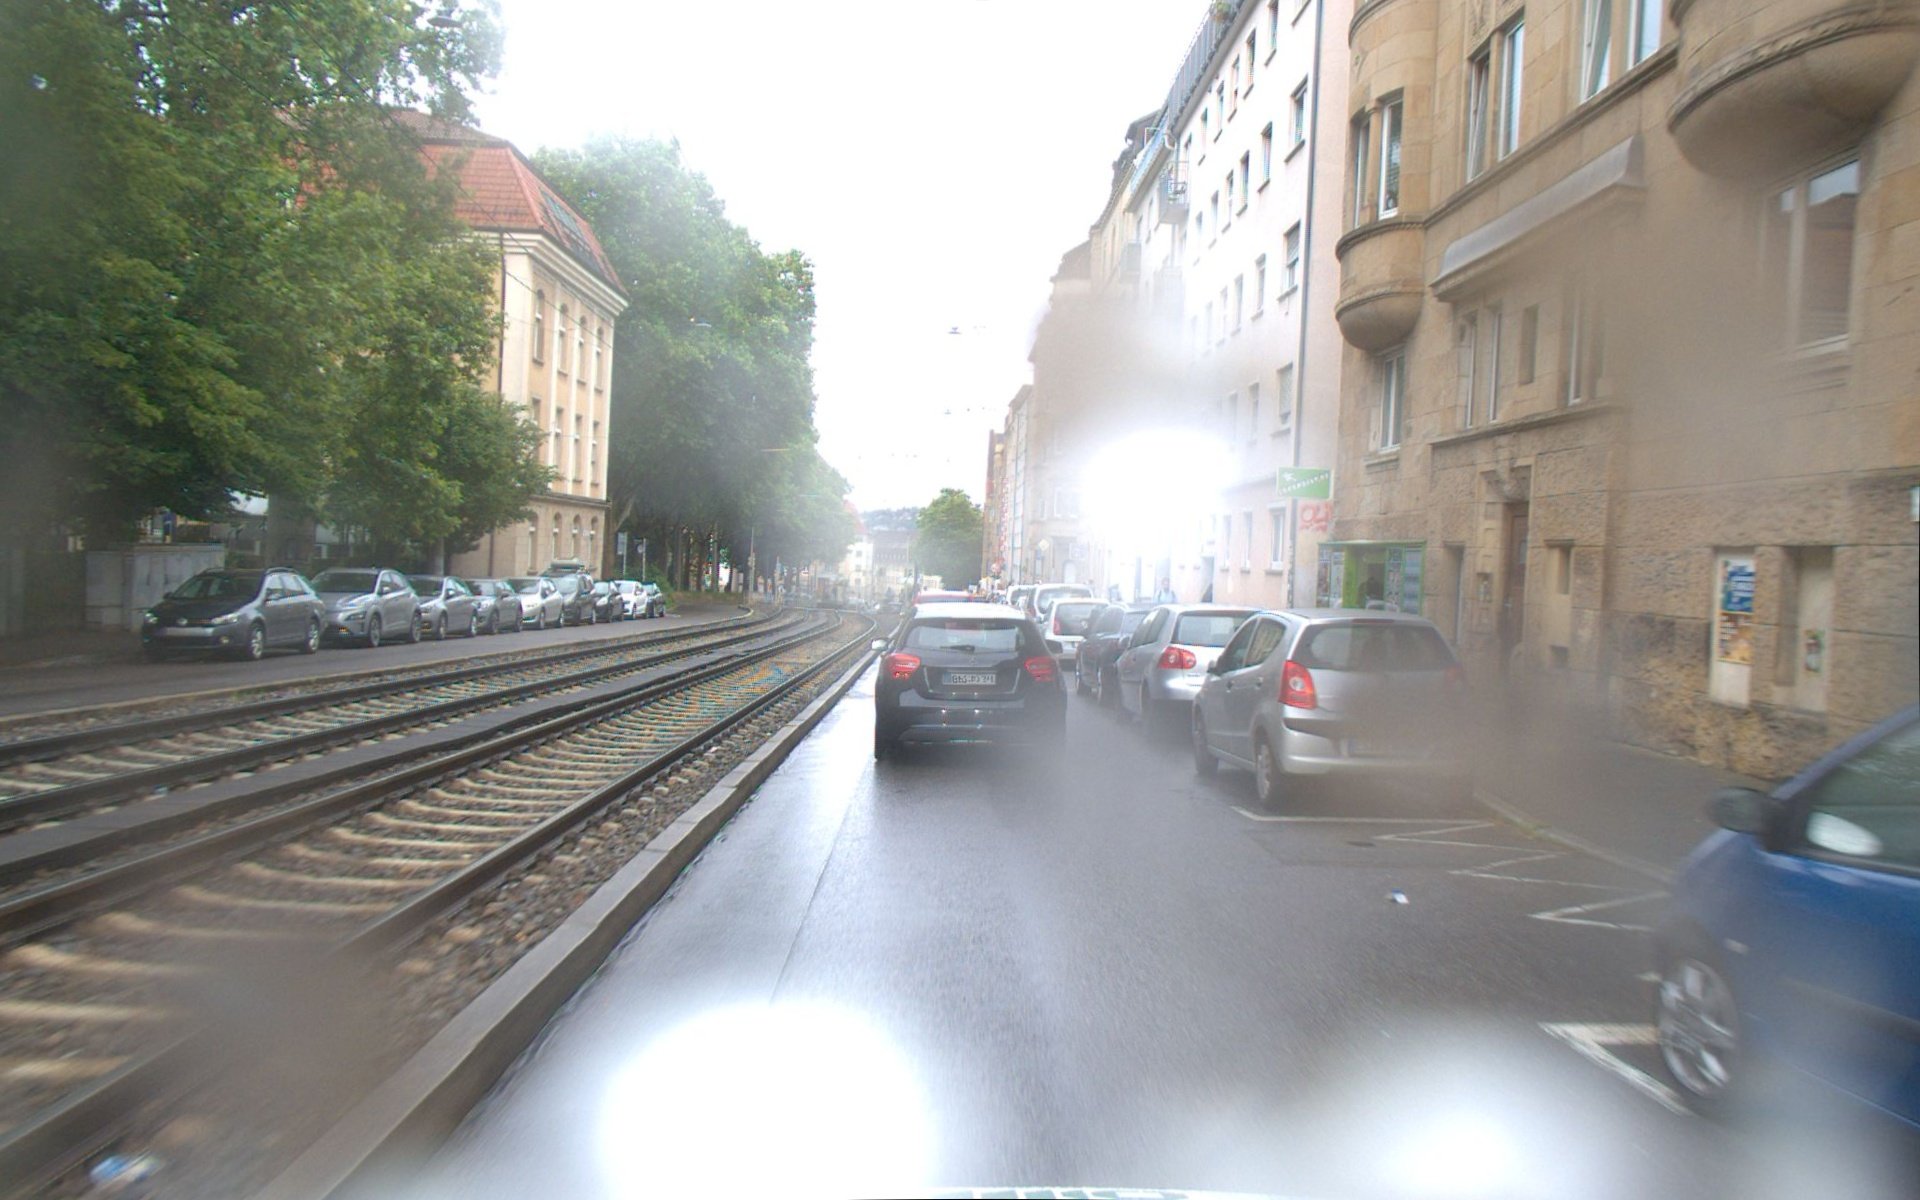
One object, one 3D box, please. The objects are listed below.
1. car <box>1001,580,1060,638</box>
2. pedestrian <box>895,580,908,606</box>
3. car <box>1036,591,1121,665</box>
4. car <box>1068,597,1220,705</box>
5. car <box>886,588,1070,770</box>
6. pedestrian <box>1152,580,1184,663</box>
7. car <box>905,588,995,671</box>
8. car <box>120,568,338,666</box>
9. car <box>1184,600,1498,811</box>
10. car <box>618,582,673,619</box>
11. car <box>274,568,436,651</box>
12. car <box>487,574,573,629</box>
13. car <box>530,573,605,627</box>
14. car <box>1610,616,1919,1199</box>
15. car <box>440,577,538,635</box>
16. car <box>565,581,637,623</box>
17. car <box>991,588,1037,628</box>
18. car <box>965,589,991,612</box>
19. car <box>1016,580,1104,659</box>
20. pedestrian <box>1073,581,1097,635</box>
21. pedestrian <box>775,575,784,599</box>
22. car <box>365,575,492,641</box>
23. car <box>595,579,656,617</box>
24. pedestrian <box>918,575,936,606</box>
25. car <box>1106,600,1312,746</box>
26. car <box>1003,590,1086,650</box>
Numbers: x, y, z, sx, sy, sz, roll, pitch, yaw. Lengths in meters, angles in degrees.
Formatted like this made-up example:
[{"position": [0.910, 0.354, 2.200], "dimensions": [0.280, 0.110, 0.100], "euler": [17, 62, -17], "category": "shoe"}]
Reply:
[{"position": [2.274, 0.259, 54.464], "dimensions": [1.790, 1.781, 4.467], "euler": [1, 0, 1], "category": "car"}, {"position": [-3.732, -0.441, 105.256], "dimensions": [0.789, 1.662, 0.892], "euler": [0, 0, 0], "category": "pedestrian"}, {"position": [2.502, 0.562, 35.502], "dimensions": [1.538, 1.487, 3.599], "euler": [1, 0, 0], "category": "car"}, {"position": [2.667, 0.697, 24.837], "dimensions": [1.636, 1.434, 4.310], "euler": [1, 0, -2], "category": "car"}, {"position": [0.124, 0.670, 15.987], "dimensions": [1.548, 1.531, 3.573], "euler": [1, 0, -1], "category": "car"}, {"position": [4.552, 0.467, 36.168], "dimensions": [0.594, 1.794, 0.688], "euler": [0, 0, -2], "category": "pedestrian"}, {"position": [-0.213, 0.564, 34.772], "dimensions": [1.749, 1.608, 3.999], "euler": [1, 0, -1], "category": "car"}, {"position": [-12.182, 0.245, 27.897], "dimensions": [1.812, 1.489, 4.548], "euler": [0, 0, -3], "category": "car"}, {"position": [2.950, 0.748, 13.551], "dimensions": [1.558, 1.459, 3.682], "euler": [1, 0, -3], "category": "car"}, {"position": [-12.918, -0.007, 68.055], "dimensions": [1.581, 1.454, 3.851], "euler": [1, 1, -1], "category": "car"}, {"position": [-12.191, 0.158, 33.634], "dimensions": [1.719, 1.563, 4.541], "euler": [0, 0, -2], "category": "car"}, {"position": [-12.476, 0.030, 48.245], "dimensions": [1.508, 1.531, 4.153], "euler": [0, 0, -2], "category": "car"}, {"position": [-12.671, -0.027, 53.549], "dimensions": [1.544, 1.672, 4.070], "euler": [0, 0, -2], "category": "car"}, {"position": [3.050, 0.803, 3.964], "dimensions": [1.513, 1.439, 3.445], "euler": [1, 0, -2], "category": "car"}, {"position": [-12.278, 0.133, 43.341], "dimensions": [1.508, 1.438, 3.952], "euler": [0, 0, -2], "category": "car"}, {"position": [-12.680, 0.055, 58.652], "dimensions": [1.640, 1.438, 4.010], "euler": [0, 0, 0], "category": "car"}, {"position": [2.189, 0.303, 67.864], "dimensions": [1.659, 1.556, 4.000], "euler": [2, 0, 0], "category": "car"}, {"position": [1.308, 0.035, 121.849], "dimensions": [1.790, 1.646, 3.864], "euler": [0, 1, -1], "category": "car"}, {"position": [2.360, 0.437, 39.887], "dimensions": [1.754, 1.796, 4.211], "euler": [0, 0, -1], "category": "car"}, {"position": [4.385, 0.263, 58.158], "dimensions": [0.730, 1.865, 1.039], "euler": [-1, 0, 1], "category": "pedestrian"}, {"position": [-13.769, -0.967, 126.207], "dimensions": [0.523, 1.784, 0.607], "euler": [3, 0, 0], "category": "pedestrian"}, {"position": [-12.343, 0.158, 38.665], "dimensions": [1.719, 1.438, 4.152], "euler": [0, 0, -2], "category": "car"}, {"position": [-12.727, -0.094, 63.126], "dimensions": [1.469, 1.415, 3.987], "euler": [0, 0, 0], "category": "car"}, {"position": [-2.184, -0.612, 109.835], "dimensions": [1.115, 2.033, 1.171], "euler": [0, 0, -5], "category": "pedestrian"}, {"position": [2.721, 0.746, 18.891], "dimensions": [1.634, 1.459, 3.955], "euler": [0, 0, -2], "category": "car"}, {"position": [2.235, 0.498, 44.955], "dimensions": [1.833, 1.481, 4.901], "euler": [1, 1, -2], "category": "car"}]
